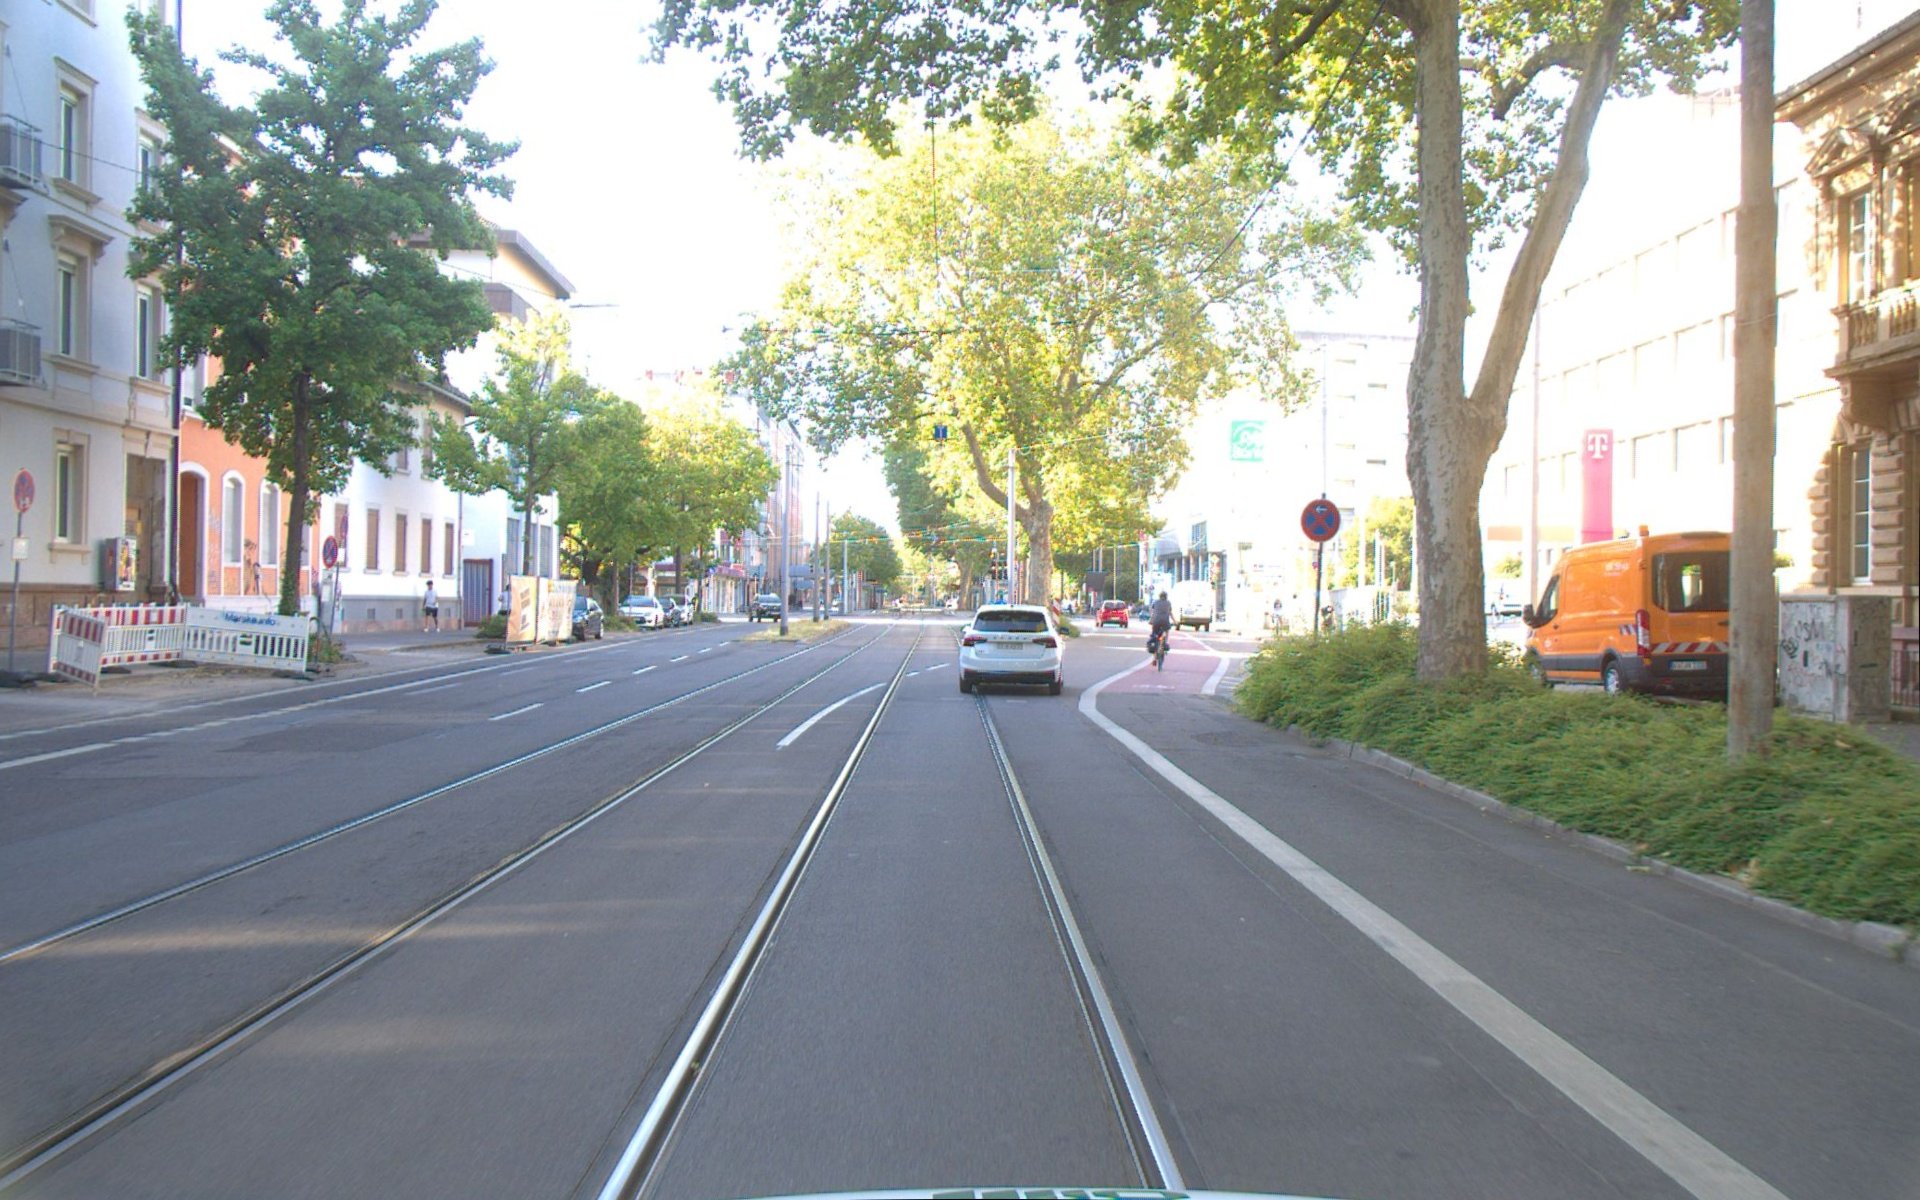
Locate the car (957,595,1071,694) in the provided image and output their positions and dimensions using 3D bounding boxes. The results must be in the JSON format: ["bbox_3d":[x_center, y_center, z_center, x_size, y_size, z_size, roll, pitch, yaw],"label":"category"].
[{"bbox_3d":[0.928,0.703,28.195,1.764,1.527,3.982,1,0,2],"label":"car"}]

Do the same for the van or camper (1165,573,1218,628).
[{"bbox_3d":[12.741,0.023,91.290,2.222,2.781,6.349,3,0,3],"label":"van or camper"}]

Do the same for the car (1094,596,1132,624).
[{"bbox_3d":[8.627,0.540,93.515,1.802,1.515,3.716,0,0,-1],"label":"car"}]

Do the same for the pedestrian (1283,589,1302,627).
[{"bbox_3d":[15.532,0.371,77.283,0.769,1.779,0.772,0,0,4],"label":"pedestrian"}]

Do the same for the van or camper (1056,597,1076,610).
[{"bbox_3d":[13.992,0.471,219.089,2.103,1.781,4.428,0,0,-4],"label":"van or camper"}]

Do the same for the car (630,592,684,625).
[{"bbox_3d":[-14.457,0.377,79.178,1.954,1.502,4.647,0,0,-3],"label":"car"}]

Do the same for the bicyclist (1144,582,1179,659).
[{"bbox_3d":[4.568,0.449,37.514,0.727,1.698,0.745,2,0,8],"label":"bicyclist"}]

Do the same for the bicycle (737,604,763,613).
[{"bbox_3d":[-17.607,0.720,138.780,2.126,0.801,0.640,0,0,-5],"label":"bicycle"}]

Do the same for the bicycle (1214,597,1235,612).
[{"bbox_3d":[25.760,0.470,161.013,1.896,1.468,0.575,0,0,-2],"label":"bicycle"}]

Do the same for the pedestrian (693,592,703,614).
[{"bbox_3d":[-20.190,0.216,127.514,0.694,1.691,1.032,0,0,-6],"label":"pedestrian"}]

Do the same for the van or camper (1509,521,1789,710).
[{"bbox_3d":[10.493,0.207,25.768,1.994,2.604,5.773,0,0,0],"label":"van or camper"}]

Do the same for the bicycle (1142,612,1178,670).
[{"bbox_3d":[4.559,0.912,37.596,0.728,1.245,2.158,2,0,8],"label":"bicycle"}]

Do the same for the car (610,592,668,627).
[{"bbox_3d":[-14.180,0.411,73.265,1.954,1.496,4.403,0,0,-3],"label":"car"}]

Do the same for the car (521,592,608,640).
[{"bbox_3d":[-13.346,0.507,56.072,1.953,1.540,4.723,0,0,-2],"label":"car"}]

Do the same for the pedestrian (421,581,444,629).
[{"bbox_3d":[-17.438,0.163,54.661,0.582,1.598,0.639,0,0,-3],"label":"pedestrian"}]

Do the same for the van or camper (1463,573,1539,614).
[{"bbox_3d":[26.179,-0.311,80.204,1.940,1.942,4.998,0,0,-2],"label":"van or camper"}]

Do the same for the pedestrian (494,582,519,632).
[{"bbox_3d":[-15.295,0.226,55.750,0.622,1.649,0.731,2,0,-3],"label":"pedestrian"}]

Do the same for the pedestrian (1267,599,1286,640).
[{"bbox_3d":[13.065,0.808,68.267,0.655,1.647,1.103,-2,0,8],"label":"pedestrian"}]

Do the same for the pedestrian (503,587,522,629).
[{"bbox_3d":[-17.269,0.303,63.790,0.582,1.598,0.639,0,0,-3],"label":"pedestrian"}]

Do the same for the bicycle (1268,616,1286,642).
[{"bbox_3d":[13.068,1.190,68.233,0.660,1.050,1.902,-2,0,9],"label":"bicycle"}]

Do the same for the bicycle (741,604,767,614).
[{"bbox_3d":[-17.381,0.771,139.683,2.126,0.801,0.491,0,0,-5],"label":"bicycle"}]

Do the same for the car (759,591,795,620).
[{"bbox_3d":[-11.067,0.300,100.194,1.954,1.719,4.307,0,0,-3],"label":"car"}]

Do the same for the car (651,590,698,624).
[{"bbox_3d":[-14.818,0.343,86.055,1.954,1.719,4.175,0,0,-3],"label":"car"}]

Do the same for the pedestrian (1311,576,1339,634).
[{"bbox_3d":[10.891,0.140,49.356,0.681,1.713,0.931,0,0,20],"label":"pedestrian"}]
